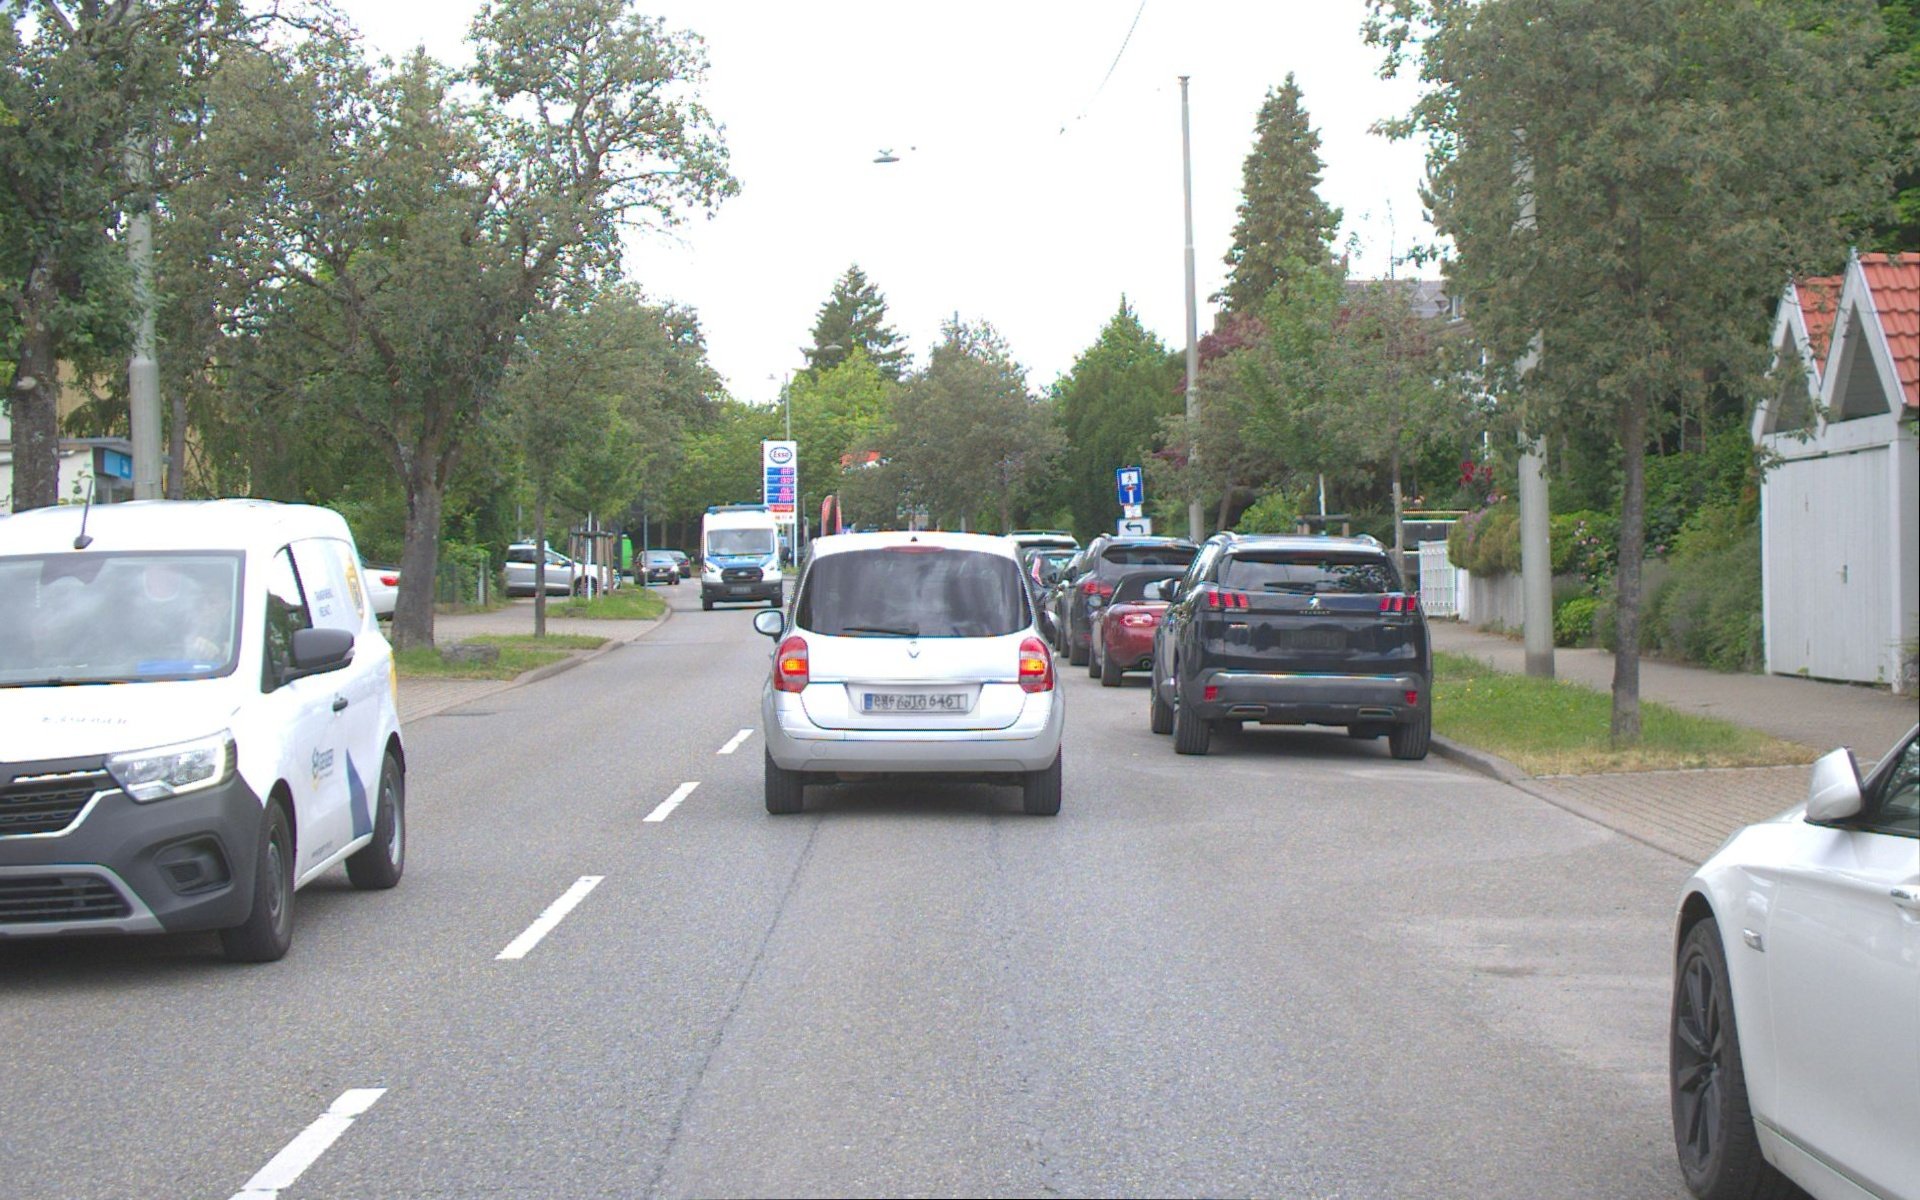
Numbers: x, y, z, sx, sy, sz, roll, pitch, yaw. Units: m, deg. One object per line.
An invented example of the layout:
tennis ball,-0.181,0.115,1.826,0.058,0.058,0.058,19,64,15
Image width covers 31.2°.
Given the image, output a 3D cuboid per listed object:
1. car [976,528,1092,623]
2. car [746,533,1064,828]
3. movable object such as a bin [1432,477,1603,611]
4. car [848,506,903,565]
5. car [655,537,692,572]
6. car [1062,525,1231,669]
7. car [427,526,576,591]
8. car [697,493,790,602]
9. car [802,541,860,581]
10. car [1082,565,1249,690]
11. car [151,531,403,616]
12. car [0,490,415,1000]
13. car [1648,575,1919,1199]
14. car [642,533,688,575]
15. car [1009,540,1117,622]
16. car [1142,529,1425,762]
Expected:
car,1.432,-0.503,68.166,1.799,1.772,4.706,1,1,-5
car,-0.292,0.397,20.098,1.679,1.554,3.512,1,1,0
movable object such as a bin,8.642,-0.864,53.370,2.310,2.007,1.344,1,1,-6
car,-4.336,-3.272,175.276,2.281,2.901,5.280,1,1,-7
car,-14.538,-2.317,174.359,1.835,1.708,4.001,-2,1,-5
car,2.365,-0.071,44.642,1.830,1.706,4.549,2,1,-1
car,-13.166,-1.207,98.977,4.086,1.700,1.748,2,1,-4
car,-5.443,-1.328,86.935,2.073,2.573,5.300,-3,1,-2
car,-4.854,-1.475,129.248,1.695,1.501,3.974,0,1,-9
car,2.203,0.268,37.659,1.481,1.232,3.884,2,1,-1
car,-12.156,-0.472,61.413,4.277,1.363,1.817,2,0,-7
car,-3.467,0.471,14.026,1.795,1.746,4.299,-1,1,0
car,2.557,0.727,6.132,1.693,1.448,4.405,1,1,-1
car,-12.309,-1.926,143.321,1.835,1.708,4.001,-2,1,-5
car,1.857,-0.363,63.089,1.558,1.438,3.507,1,1,-5
car,2.376,0.287,26.134,1.688,1.603,4.109,1,1,-1
